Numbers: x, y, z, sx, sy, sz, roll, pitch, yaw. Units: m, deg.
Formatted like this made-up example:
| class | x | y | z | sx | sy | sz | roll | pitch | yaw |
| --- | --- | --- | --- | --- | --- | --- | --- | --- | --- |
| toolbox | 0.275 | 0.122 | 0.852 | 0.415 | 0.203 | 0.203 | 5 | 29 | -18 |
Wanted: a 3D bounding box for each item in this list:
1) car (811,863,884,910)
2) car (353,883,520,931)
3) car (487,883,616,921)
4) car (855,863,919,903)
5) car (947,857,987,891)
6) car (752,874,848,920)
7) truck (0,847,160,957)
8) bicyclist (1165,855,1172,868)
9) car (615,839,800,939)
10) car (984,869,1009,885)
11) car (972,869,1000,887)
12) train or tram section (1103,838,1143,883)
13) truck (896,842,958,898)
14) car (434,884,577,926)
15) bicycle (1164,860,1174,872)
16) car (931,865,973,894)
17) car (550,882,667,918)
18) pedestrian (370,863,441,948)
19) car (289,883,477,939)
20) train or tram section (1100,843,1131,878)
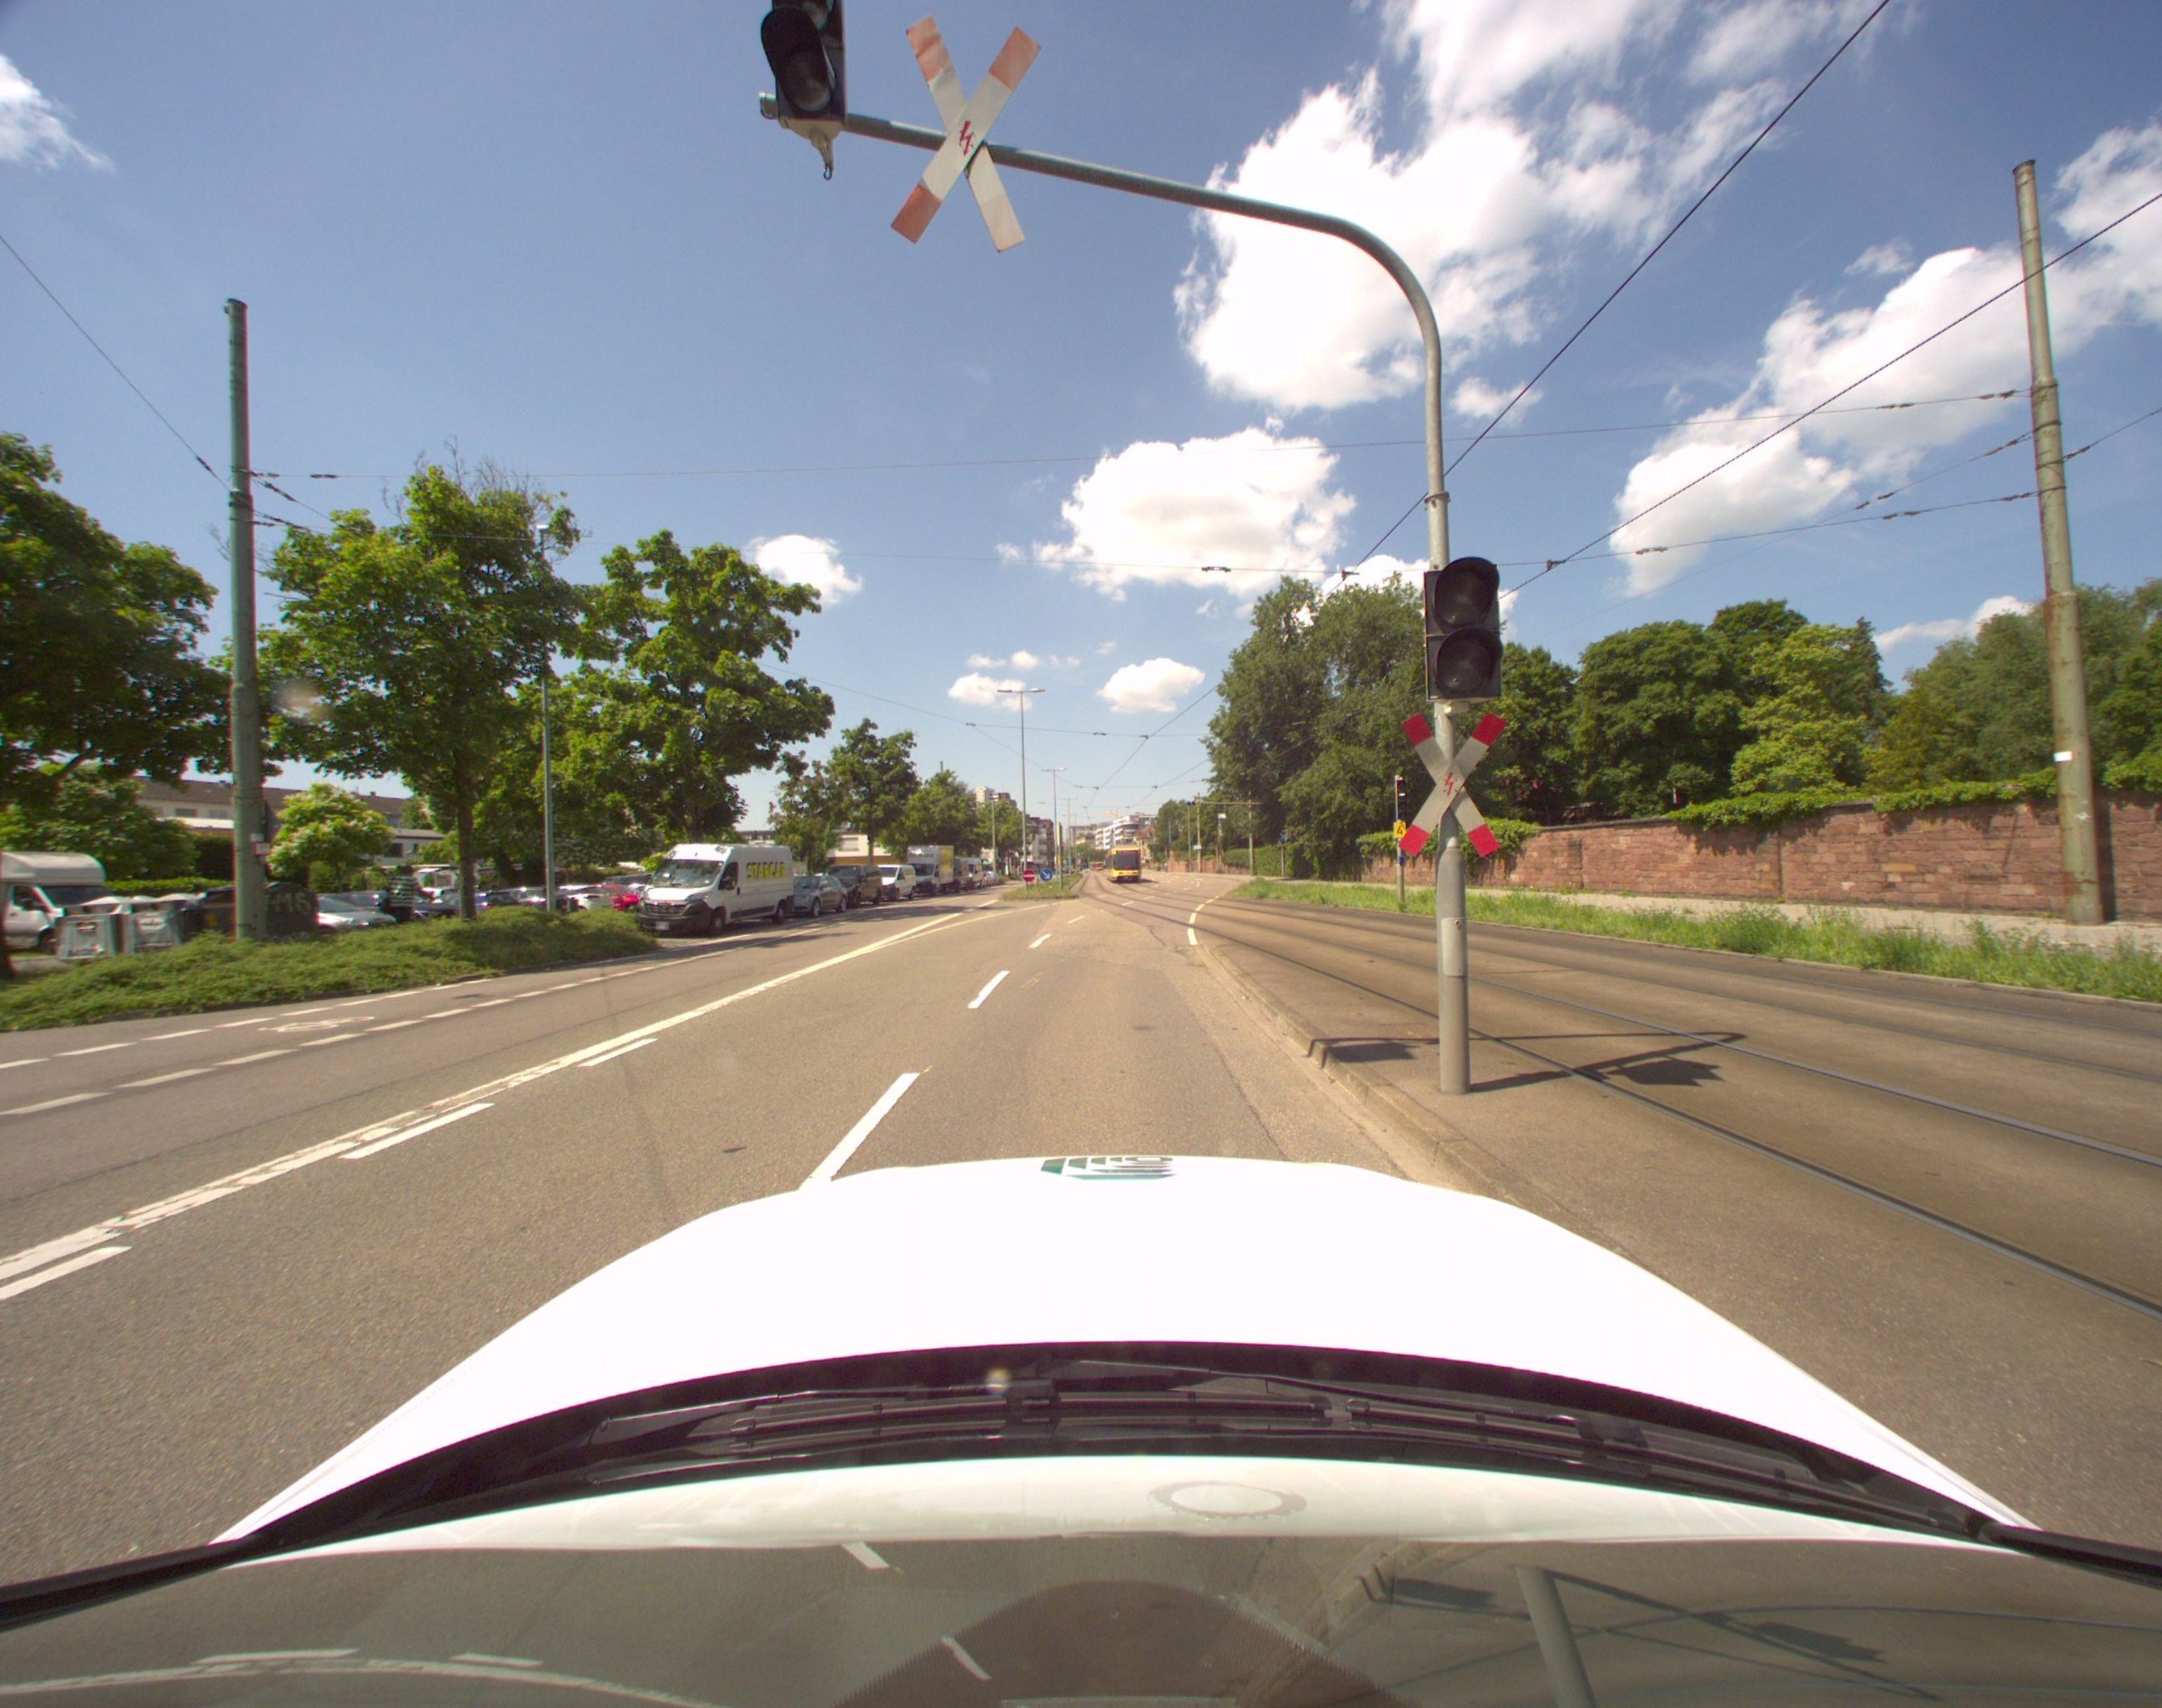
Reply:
| class | x | y | z | sx | sy | sz | roll | pitch | yaw |
| --- | --- | --- | --- | --- | --- | --- | --- | --- | --- |
| car | -10.282 | 1.375 | 36.162 | 1.862 | 1.895 | 4.272 | -2 | -1 | 1 |
| car | -21.100 | 1.713 | 26.784 | 3.975 | 1.339 | 1.804 | -2 | -1 | -1 |
| car | -21.294 | 1.917 | 32.881 | 3.975 | 1.339 | 1.804 | -2 | -1 | -1 |
| car | -10.179 | 1.483 | 43.087 | 2.053 | 1.898 | 4.872 | -2 | -1 | 1 |
| car | -9.287 | 1.589 | 66.805 | 2.148 | 2.639 | 5.615 | 1 | -1 | 3 |
| car | -10.166 | 1.519 | 29.850 | 1.862 | 1.437 | 4.343 | -2 | -1 | 1 |
| truck | -33.878 | 1.529 | 25.486 | 7.167 | 3.228 | 2.331 | -2 | -1 | -2 |
| bicyclist | 14.313 | 1.226 | 133.678 | 1.092 | 2.108 | 1.031 | -1 | -1 | 1 |
| car | -10.495 | 0.906 | 23.646 | 2.148 | 2.487 | 6.197 | 1 | -1 | 3 |
| car | -9.118 | 2.510 | 87.973 | 2.053 | 1.582 | 4.872 | -2 | -1 | 1 |
| car | -9.309 | 2.365 | 80.409 | 2.053 | 1.582 | 4.872 | -2 | -1 | 1 |
| train or tram section | 3.754 | 0.607 | 77.322 | 2.934 | 3.692 | 18.386 | -1 | -1 | 0 |
| truck | -9.659 | 0.978 | 51.736 | 2.148 | 3.210 | 7.087 | 1 | -1 | 3 |
| car | -21.290 | 1.876 | 30.242 | 3.975 | 1.339 | 1.804 | -2 | -1 | -1 |
| bicycle | 14.416 | 1.967 | 133.777 | 1.089 | 1.908 | 3.678 | -2 | -1 | -2 |
| car | -9.314 | 1.821 | 59.202 | 2.053 | 1.977 | 4.872 | -2 | -1 | 1 |
| car | -20.514 | 1.964 | 35.469 | 3.975 | 1.339 | 1.804 | -2 | -1 | -1 |
| pedestrian | -15.170 | 1.144 | 18.325 | 0.977 | 1.823 | 0.789 | -2 | -1 | -20 |
| car | -20.801 | 1.674 | 24.390 | 3.975 | 1.442 | 1.804 | -2 | -1 | -1 |
| train or tram section | 3.904 | 0.749 | 96.633 | 2.933 | 3.692 | 20.283 | -1 | -1 | 1 |
